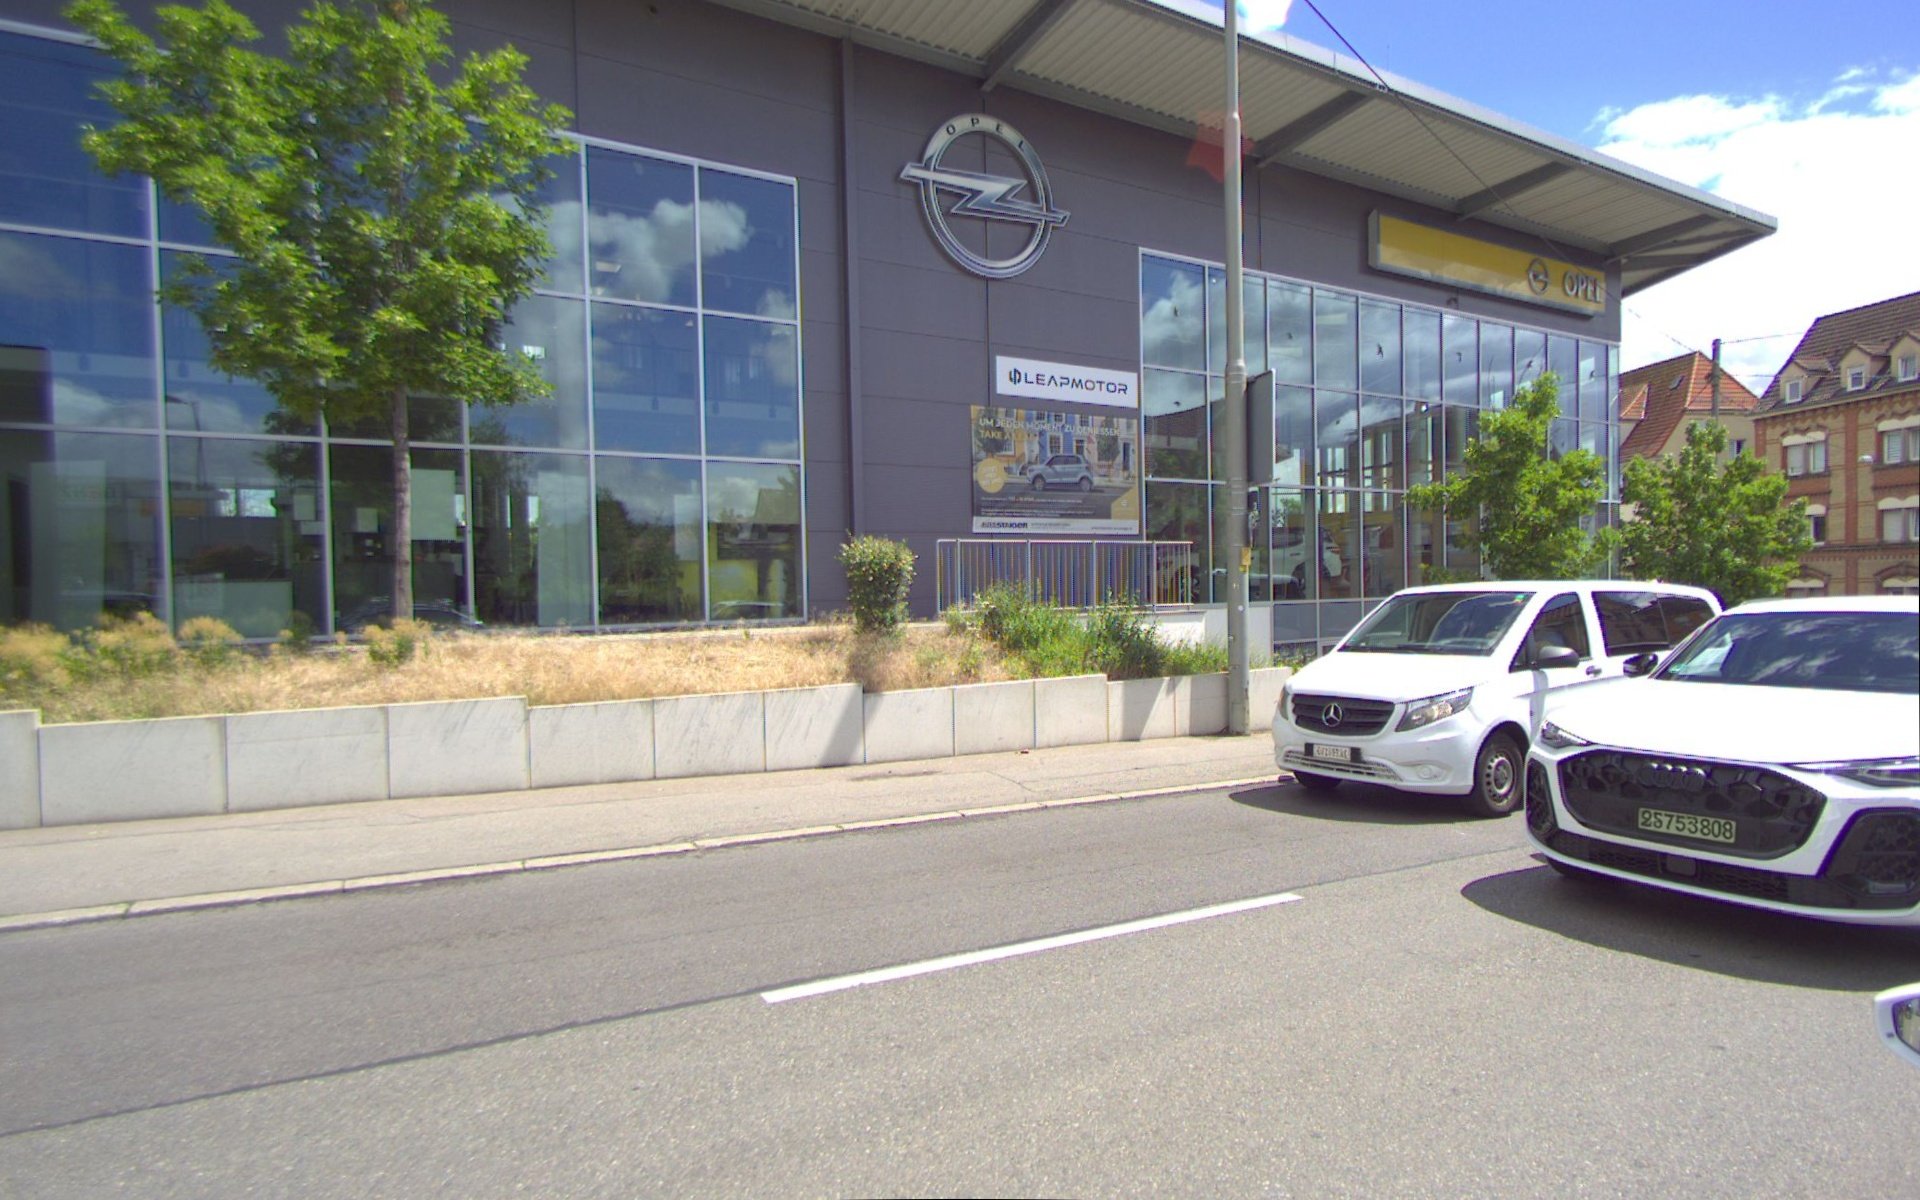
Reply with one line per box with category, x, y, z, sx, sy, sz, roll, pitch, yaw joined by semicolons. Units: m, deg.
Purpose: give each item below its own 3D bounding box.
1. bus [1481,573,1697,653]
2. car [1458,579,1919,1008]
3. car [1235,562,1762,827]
bus;32.307;0.519;52.629;2.719;3.670;12.254;1;1;-5
car;5.077;0.771;5.767;4.364;1.635;1.910;1;0;-30
car;5.114;0.747;9.313;5.139;1.884;1.910;1;-3;-31
